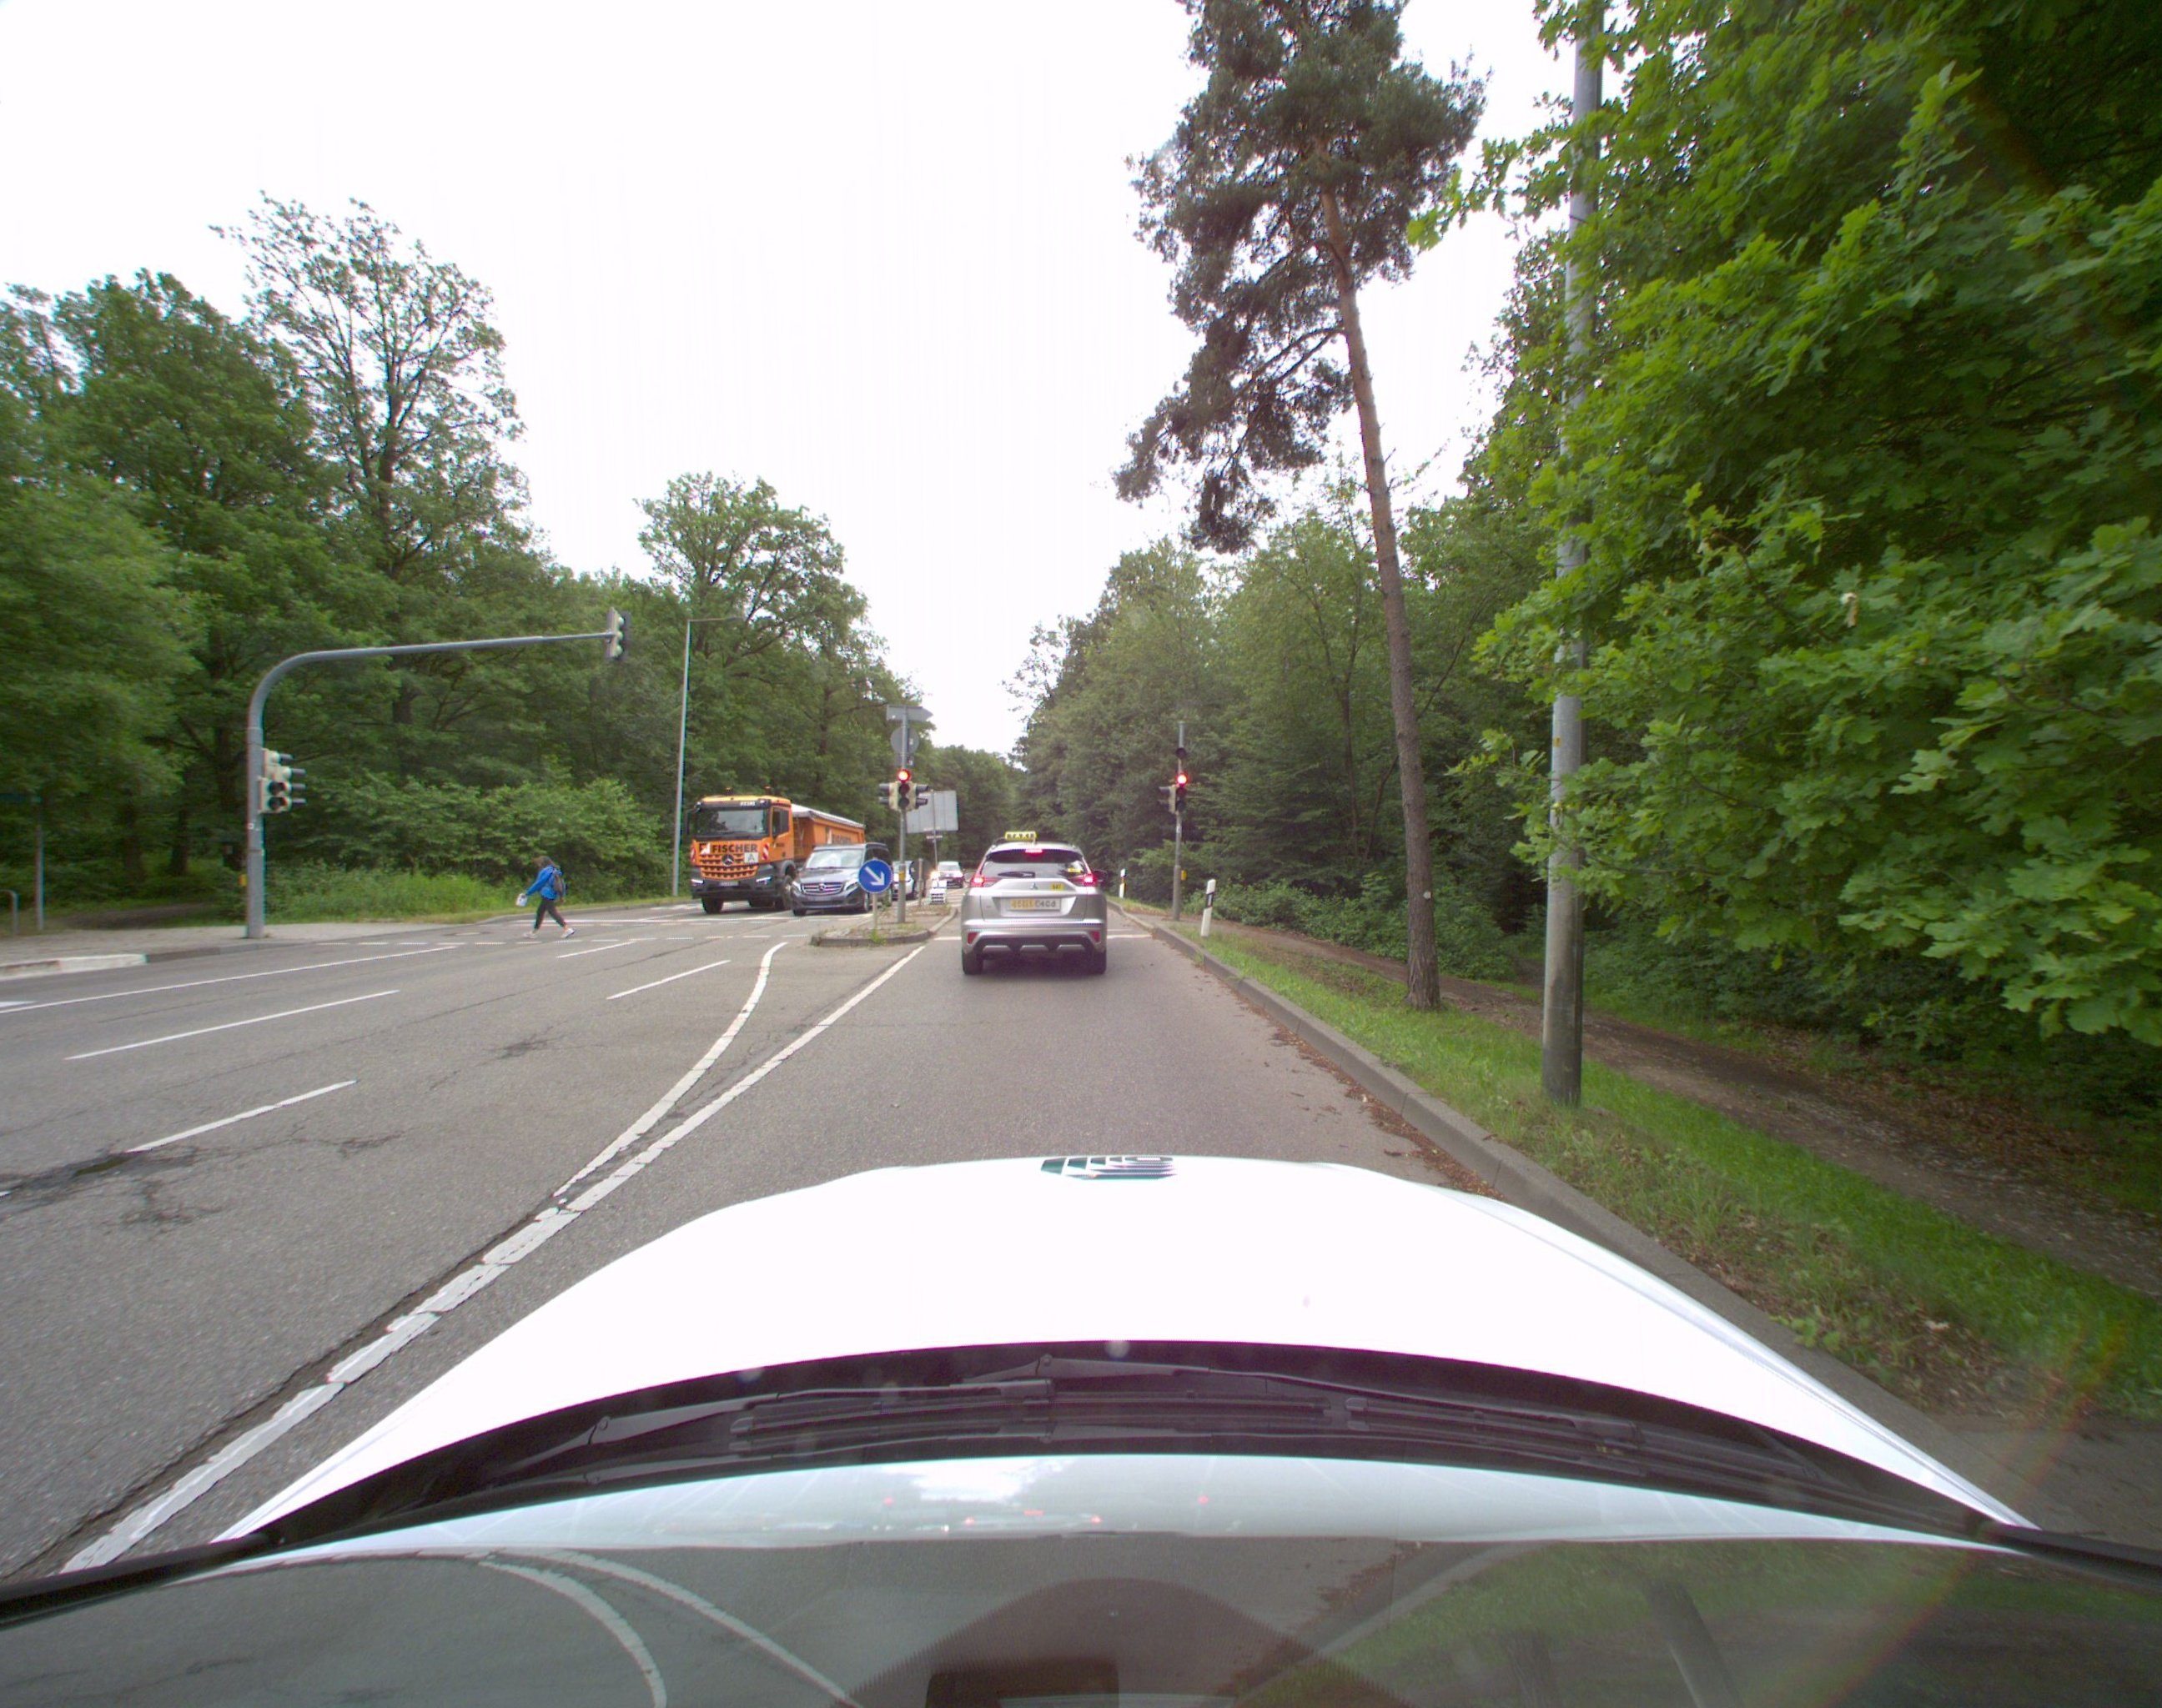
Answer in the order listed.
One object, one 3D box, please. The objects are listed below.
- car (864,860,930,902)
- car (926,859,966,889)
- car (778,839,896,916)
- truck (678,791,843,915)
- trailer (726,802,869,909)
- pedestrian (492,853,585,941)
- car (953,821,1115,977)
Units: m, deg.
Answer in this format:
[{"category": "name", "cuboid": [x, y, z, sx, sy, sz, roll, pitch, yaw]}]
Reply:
[{"category": "car", "cuboid": [-6.719, 0.951, 30.136, 1.607, 1.321, 3.719, -3, 1, -1]}, {"category": "car", "cuboid": [-7.536, 1.096, 45.794, 1.808, 1.508, 3.716, -3, 0, -4]}, {"category": "car", "cuboid": [-6.697, 0.613, 22.936, 1.989, 1.893, 4.834, -2, -1, -3]}, {"category": "truck", "cuboid": [-9.758, 0.024, 25.706, 2.733, 3.318, 7.149, -1, -1, -4]}, {"category": "trailer", "cuboid": [-10.045, 0.095, 29.970, 2.733, 3.318, 8.556, -1, -1, -4]}, {"category": "pedestrian", "cuboid": [-10.629, 0.820, 16.000, 1.042, 1.649, 1.070, -1, 1, 4]}, {"category": "car", "cuboid": [-0.644, 0.514, 11.339, 1.843, 1.780, 3.995, 1, 0, -3]}]
